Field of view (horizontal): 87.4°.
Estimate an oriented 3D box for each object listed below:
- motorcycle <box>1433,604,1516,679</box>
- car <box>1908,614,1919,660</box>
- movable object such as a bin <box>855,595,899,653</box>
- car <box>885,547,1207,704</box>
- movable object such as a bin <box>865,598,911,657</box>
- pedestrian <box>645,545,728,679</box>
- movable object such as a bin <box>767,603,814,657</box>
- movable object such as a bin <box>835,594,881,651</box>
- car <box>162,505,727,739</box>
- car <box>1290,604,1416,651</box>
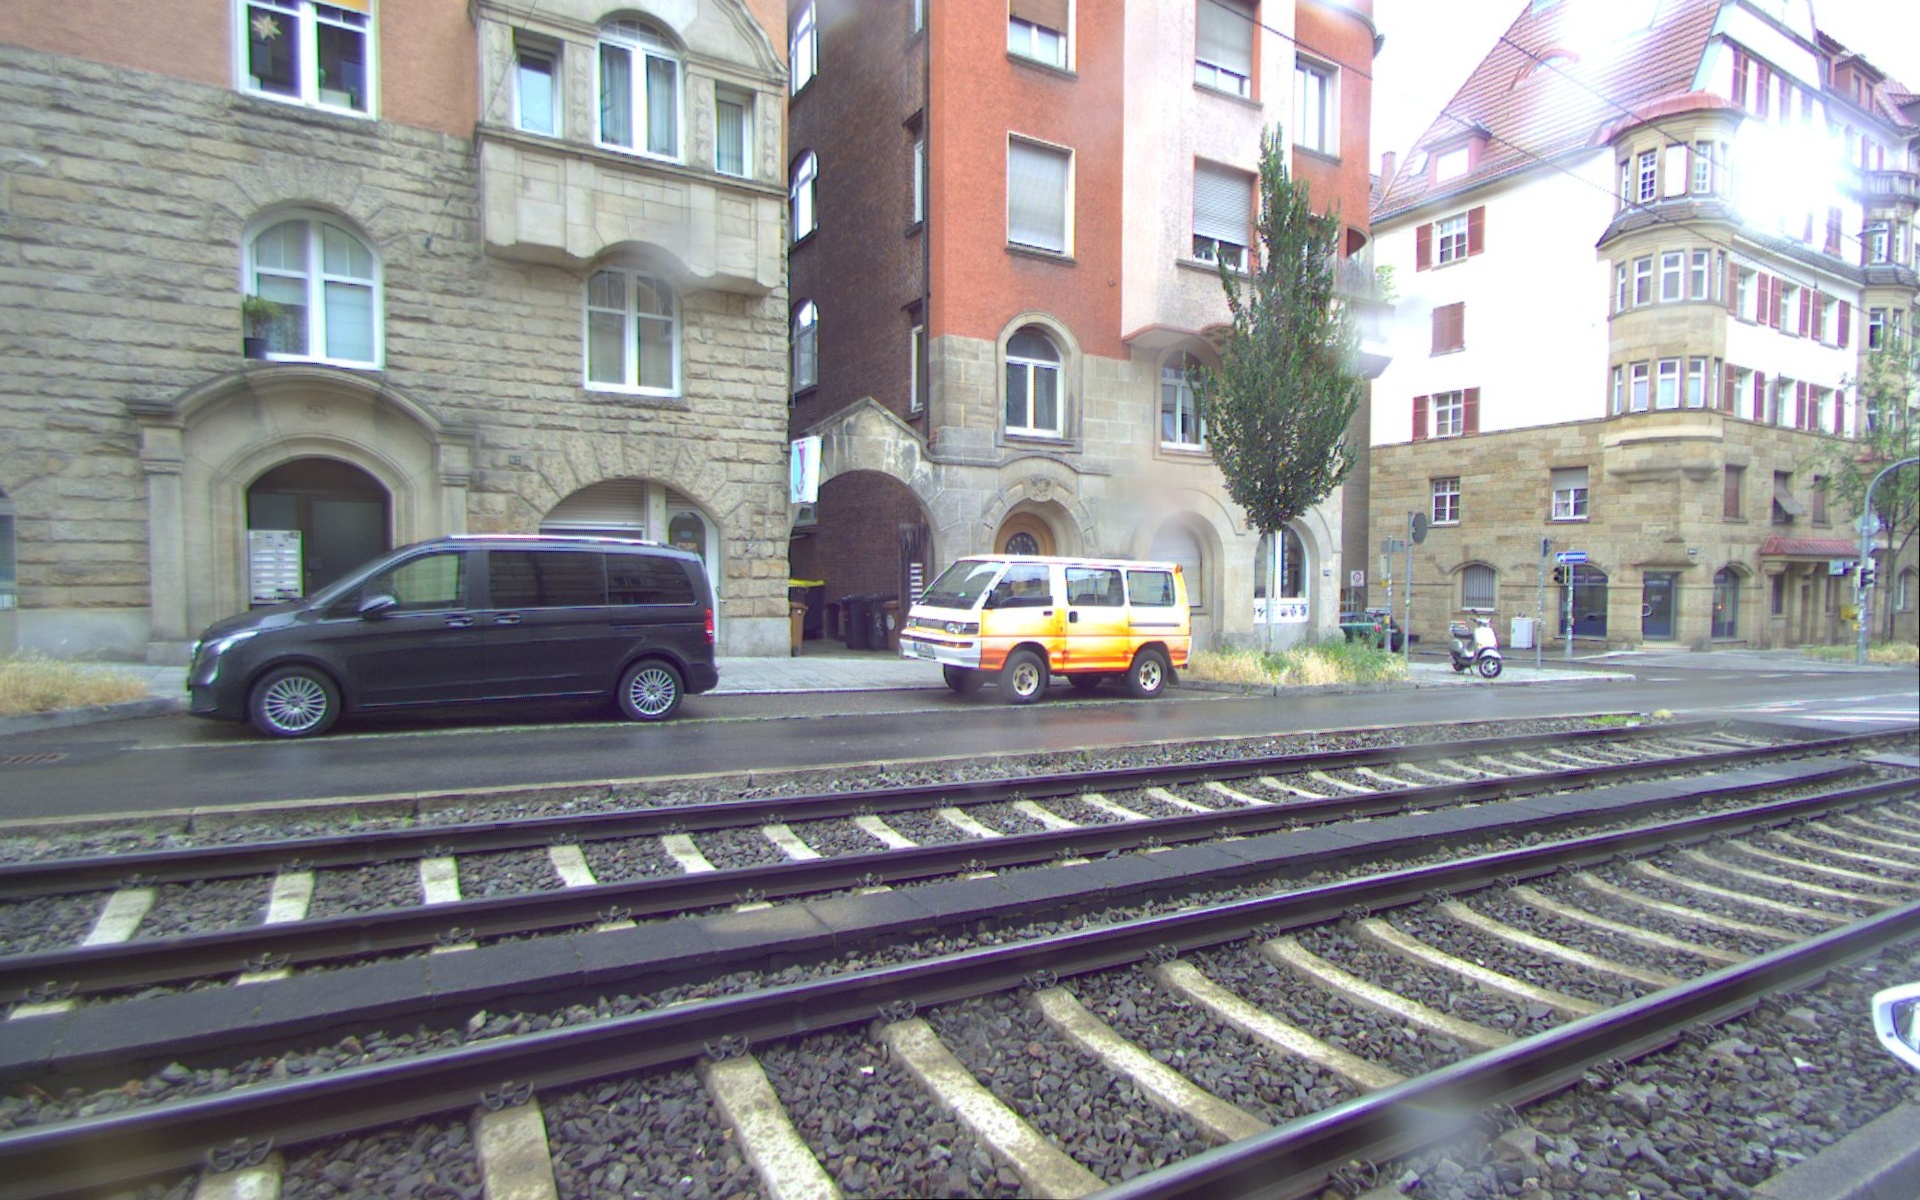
[{"bbox_3d":[10.199,0.796,19.997,0.752,1.393,1.785,2,0,2],"label":"motorcycle"},{"bbox_3d":[34.184,1.310,34.287,4.130,1.549,1.680,2,0,-32],"label":"car"},{"bbox_3d":[-1.573,0.449,18.970,0.648,1.058,0.545,2,0,-29],"label":"movable object such as a bin"},{"bbox_3d":[1.304,0.372,14.406,4.426,1.956,1.719,2,0,-32],"label":"car"},{"bbox_3d":[-1.331,0.496,18.474,0.648,1.058,0.545,2,0,-29],"label":"movable object such as a bin"},{"bbox_3d":[-3.783,0.156,13.878,0.882,1.743,0.713,2,6,-30],"label":"pedestrian"},{"bbox_3d":[-2.954,0.522,17.499,0.647,0.910,0.544,2,0,-27],"label":"movable object such as a bin"},{"bbox_3d":[-1.979,0.432,19.475,0.648,1.058,0.676,2,0,-29],"label":"movable object such as a bin"},{"bbox_3d":[-5.067,0.243,10.441,4.777,1.956,1.896,2,0,-31],"label":"car"},{"bbox_3d":[14.607,0.994,37.506,1.979,1.595,3.963,2,0,-33],"label":"car"}]
